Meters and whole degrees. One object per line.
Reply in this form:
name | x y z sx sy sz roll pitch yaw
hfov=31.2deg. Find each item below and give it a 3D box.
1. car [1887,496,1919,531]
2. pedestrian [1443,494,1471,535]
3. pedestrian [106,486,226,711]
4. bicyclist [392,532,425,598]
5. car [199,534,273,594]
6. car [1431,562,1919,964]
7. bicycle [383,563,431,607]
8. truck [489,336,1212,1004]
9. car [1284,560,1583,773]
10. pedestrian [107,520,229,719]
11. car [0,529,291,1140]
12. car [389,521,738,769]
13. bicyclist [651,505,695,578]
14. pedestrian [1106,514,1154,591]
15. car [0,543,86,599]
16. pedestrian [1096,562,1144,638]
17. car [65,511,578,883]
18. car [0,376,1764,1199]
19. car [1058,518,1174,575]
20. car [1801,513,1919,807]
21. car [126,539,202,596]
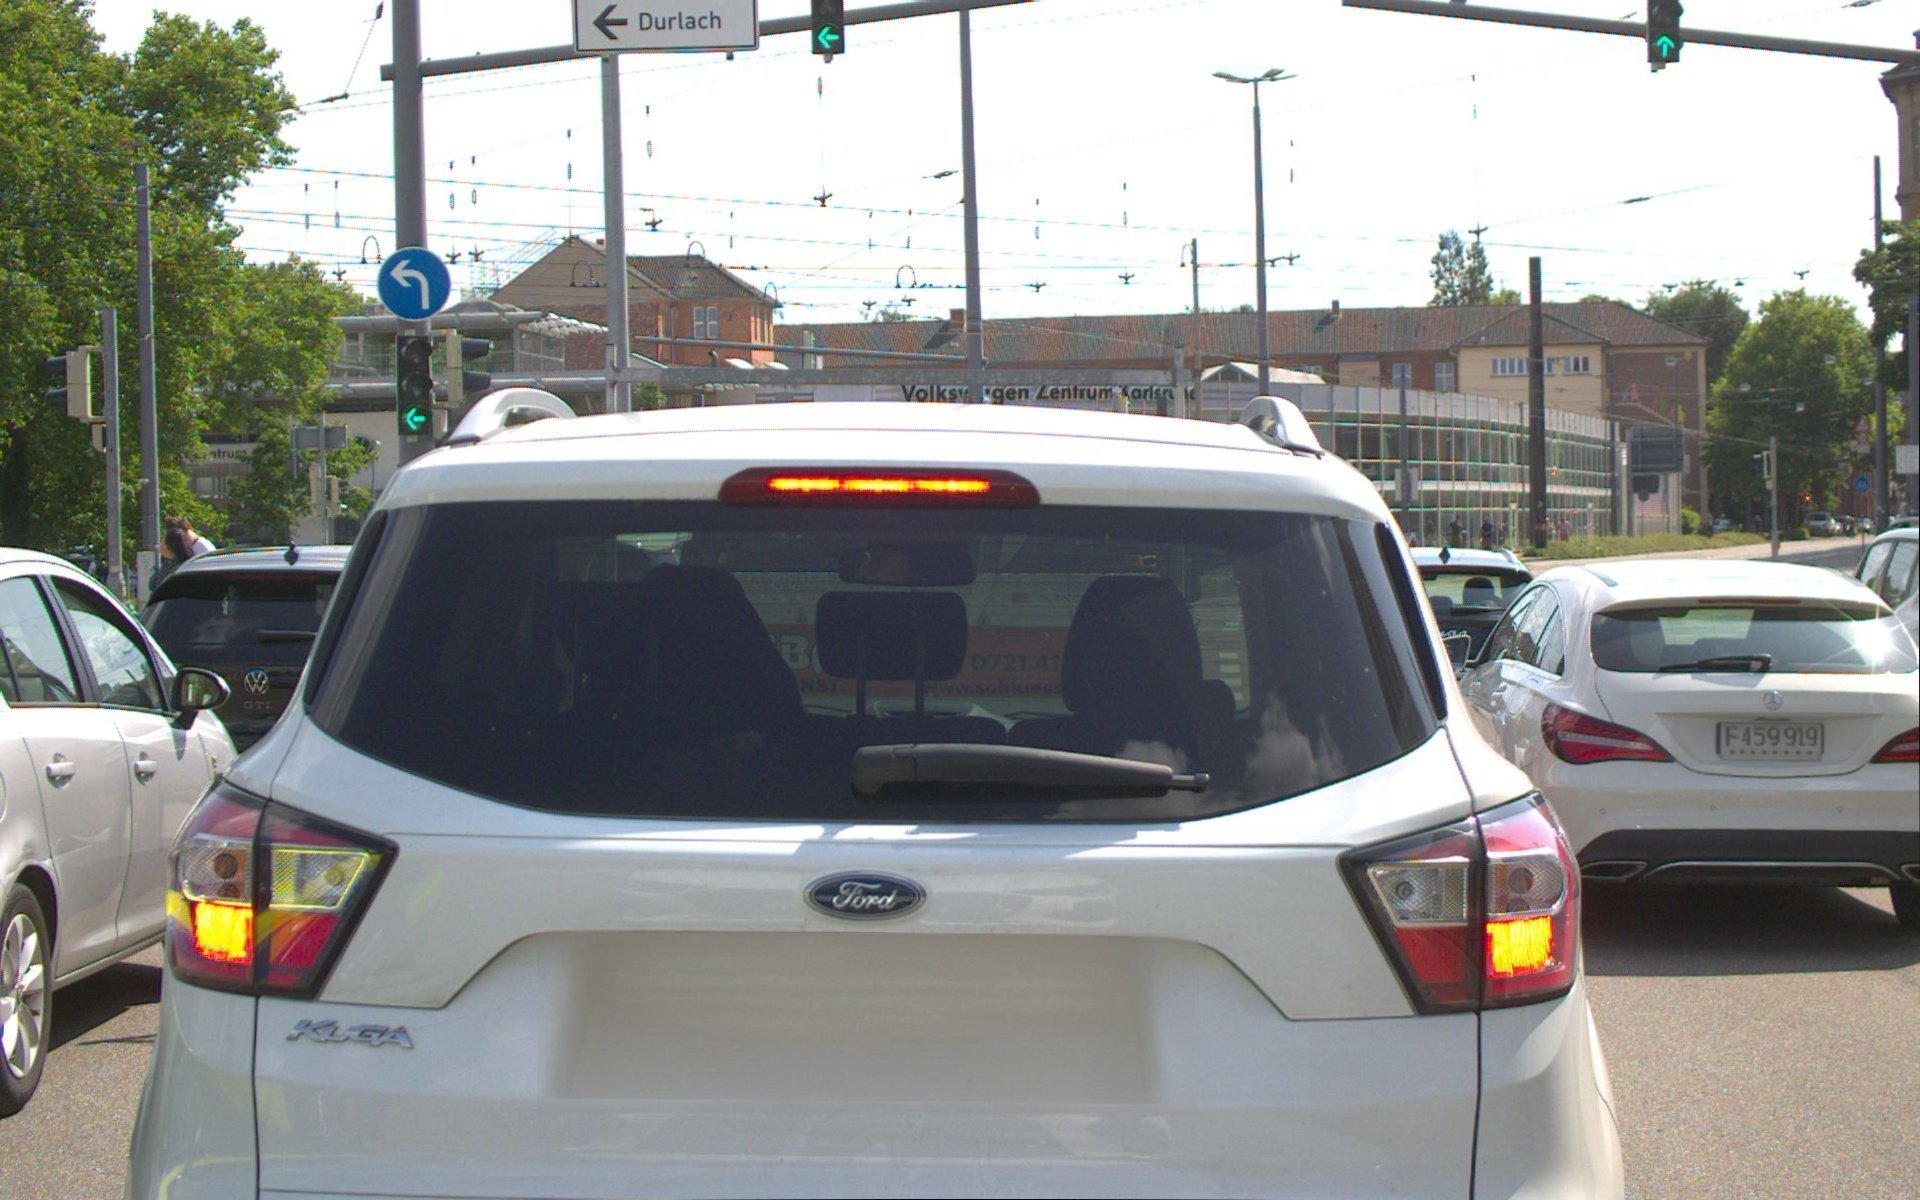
car | 46.689 -4.225 169.082 1.838 1.646 3.996 0 0 20
pedestrian | 21.089 -3.620 145.903 0.877 1.731 0.874 1 0 35
pedestrian | -6.896 -0.017 29.895 0.847 1.910 0.692 -1 0 -1
bicyclist | -14.557 -0.928 90.749 0.637 1.732 0.662 -1 2 -32
car | -26.009 -1.274 123.644 1.993 2.007 4.231 -3 0 -5
car | 3.007 0.557 14.052 1.850 1.414 3.679 0 1 3
bicycle | -14.612 -0.408 90.874 0.637 1.121 1.784 -1 2 -30
truck | -0.229 0.173 14.163 2.339 2.148 5.851 1 1 3
car | 3.345 0.428 24.890 1.850 1.414 3.679 0 1 3
pedestrian | -6.695 0.159 29.087 0.847 1.642 0.692 -1 0 -1
car | -3.261 0.544 10.073 1.848 1.469 4.000 -1 1 -1
car | -2.661 0.247 24.090 2.039 1.573 4.540 0 1 -2
bicyclist | -6.690 -1.374 80.174 0.760 1.677 0.760 -2 1 14
pedestrian | 3.879 -1.084 78.408 0.923 1.738 0.589 1 0 -23
car | -33.342 -1.039 124.754 1.967 1.930 5.069 -3 0 -1
pedestrian | 3.686 0.003 79.132 0.923 1.738 0.589 1 0 -21
car | -2.971 0.377 16.919 1.762 1.563 4.527 -1 1 -1
car | -0.026 0.580 5.391 1.827 1.658 3.955 0 1 3
car | 4.278 -1.472 93.686 1.901 1.456 3.964 -2 1 22
car | 6.407 0.318 21.176 1.837 1.646 3.999 0 0 6
car | -28.669 -1.146 123.900 1.967 1.930 4.231 -3 0 -5
